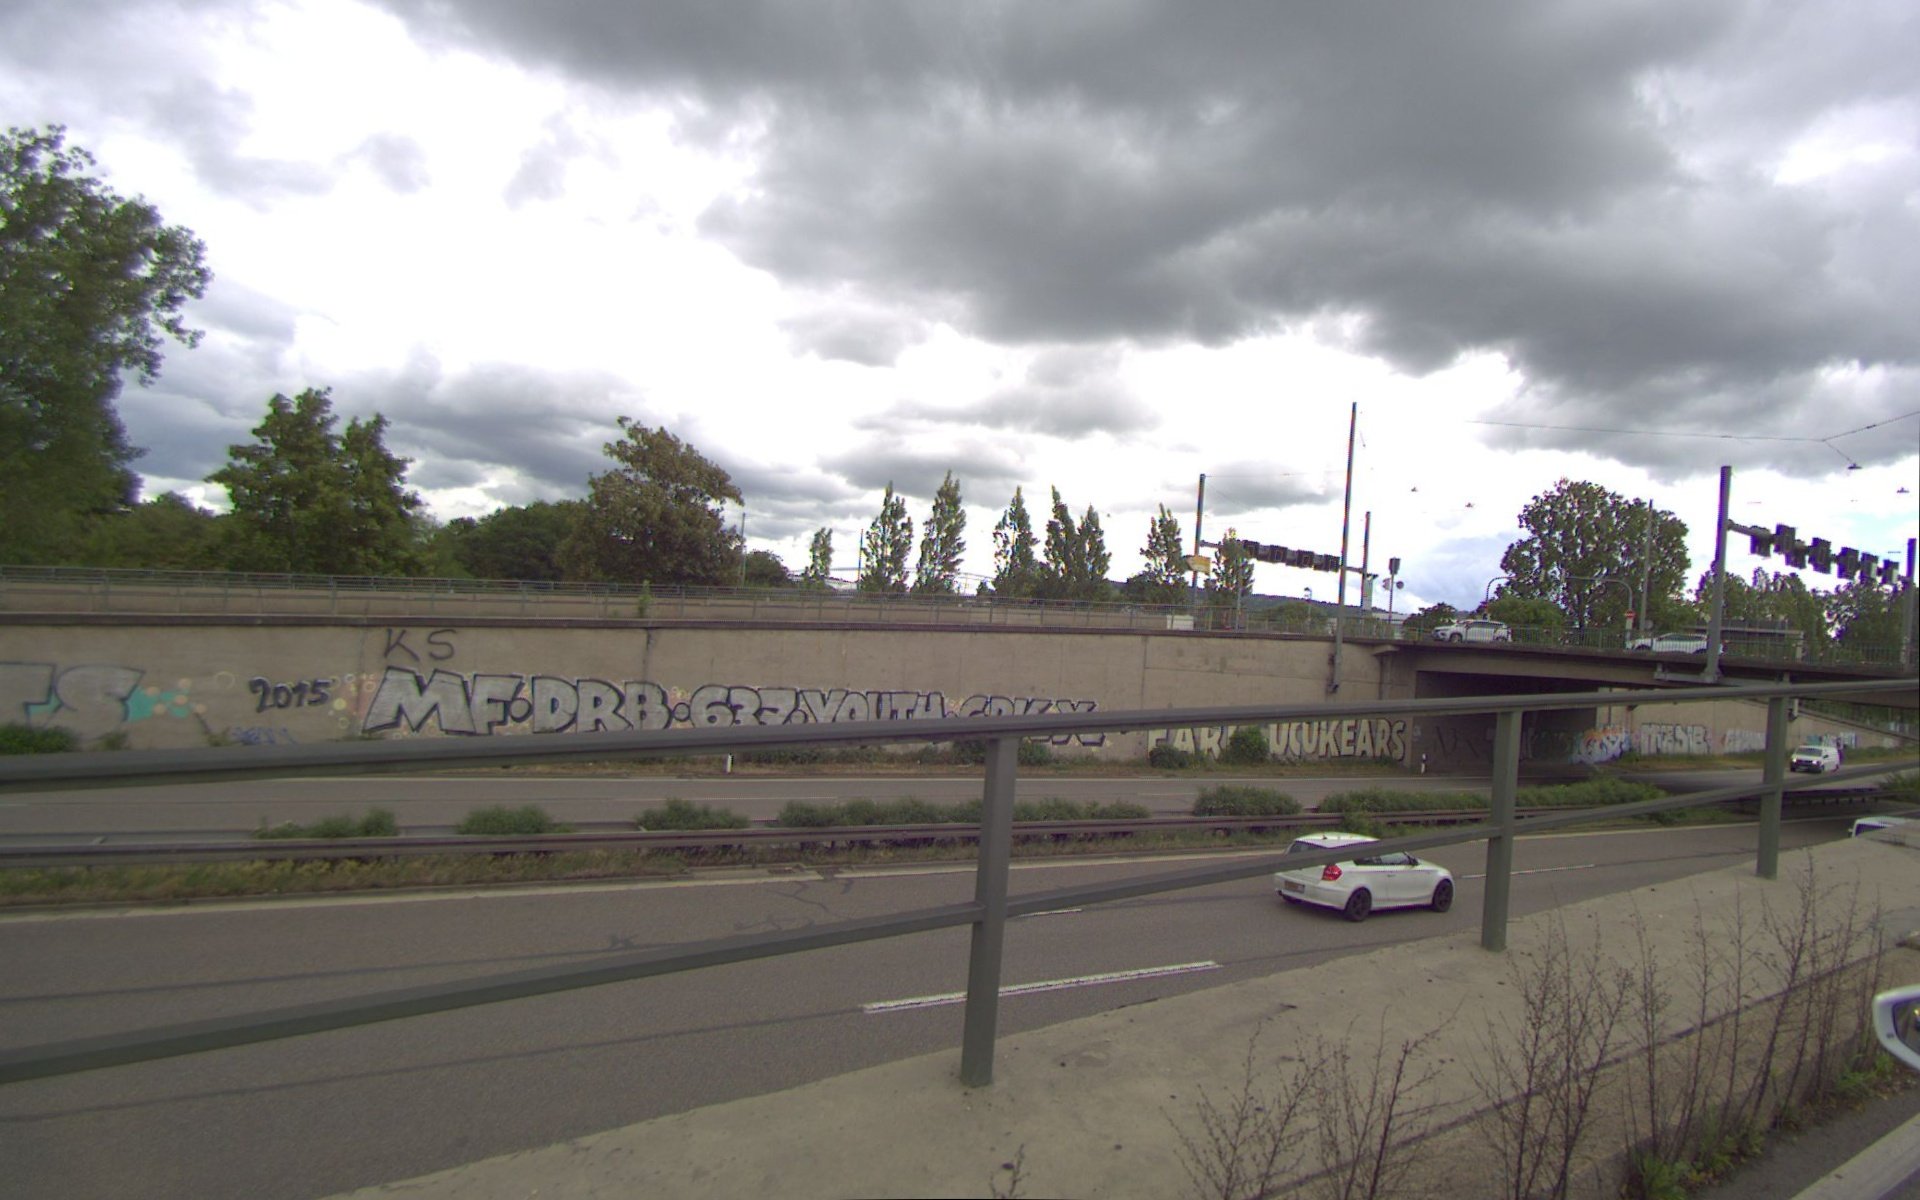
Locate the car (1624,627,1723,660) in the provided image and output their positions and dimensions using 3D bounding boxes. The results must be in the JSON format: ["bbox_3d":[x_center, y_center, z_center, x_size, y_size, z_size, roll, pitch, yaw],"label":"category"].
[{"bbox_3d":[38.891,2.339,54.822,4.276,1.597,1.832,2,0,37],"label":"car"}]

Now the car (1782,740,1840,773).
[{"bbox_3d":[64.336,11.818,75.949,5.126,2.093,1.981,6,-2,-34],"label":"car"}]

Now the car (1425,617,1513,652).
[{"bbox_3d":[29.861,2.013,59.042,4.129,1.895,2.001,2,0,4],"label":"car"}]

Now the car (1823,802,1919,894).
[{"bbox_3d":[25.492,6.558,26.924,5.141,1.900,1.984,6,-3,-30],"label":"car"}]

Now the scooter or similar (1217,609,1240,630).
[{"bbox_3d":[15.814,1.146,59.140,1.403,1.108,0.539,5,-2,-36],"label":"scooter or similar"}]

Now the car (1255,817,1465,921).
[{"bbox_3d":[8.066,5.304,20.158,4.119,1.470,1.734,6,-3,-31],"label":"car"}]
